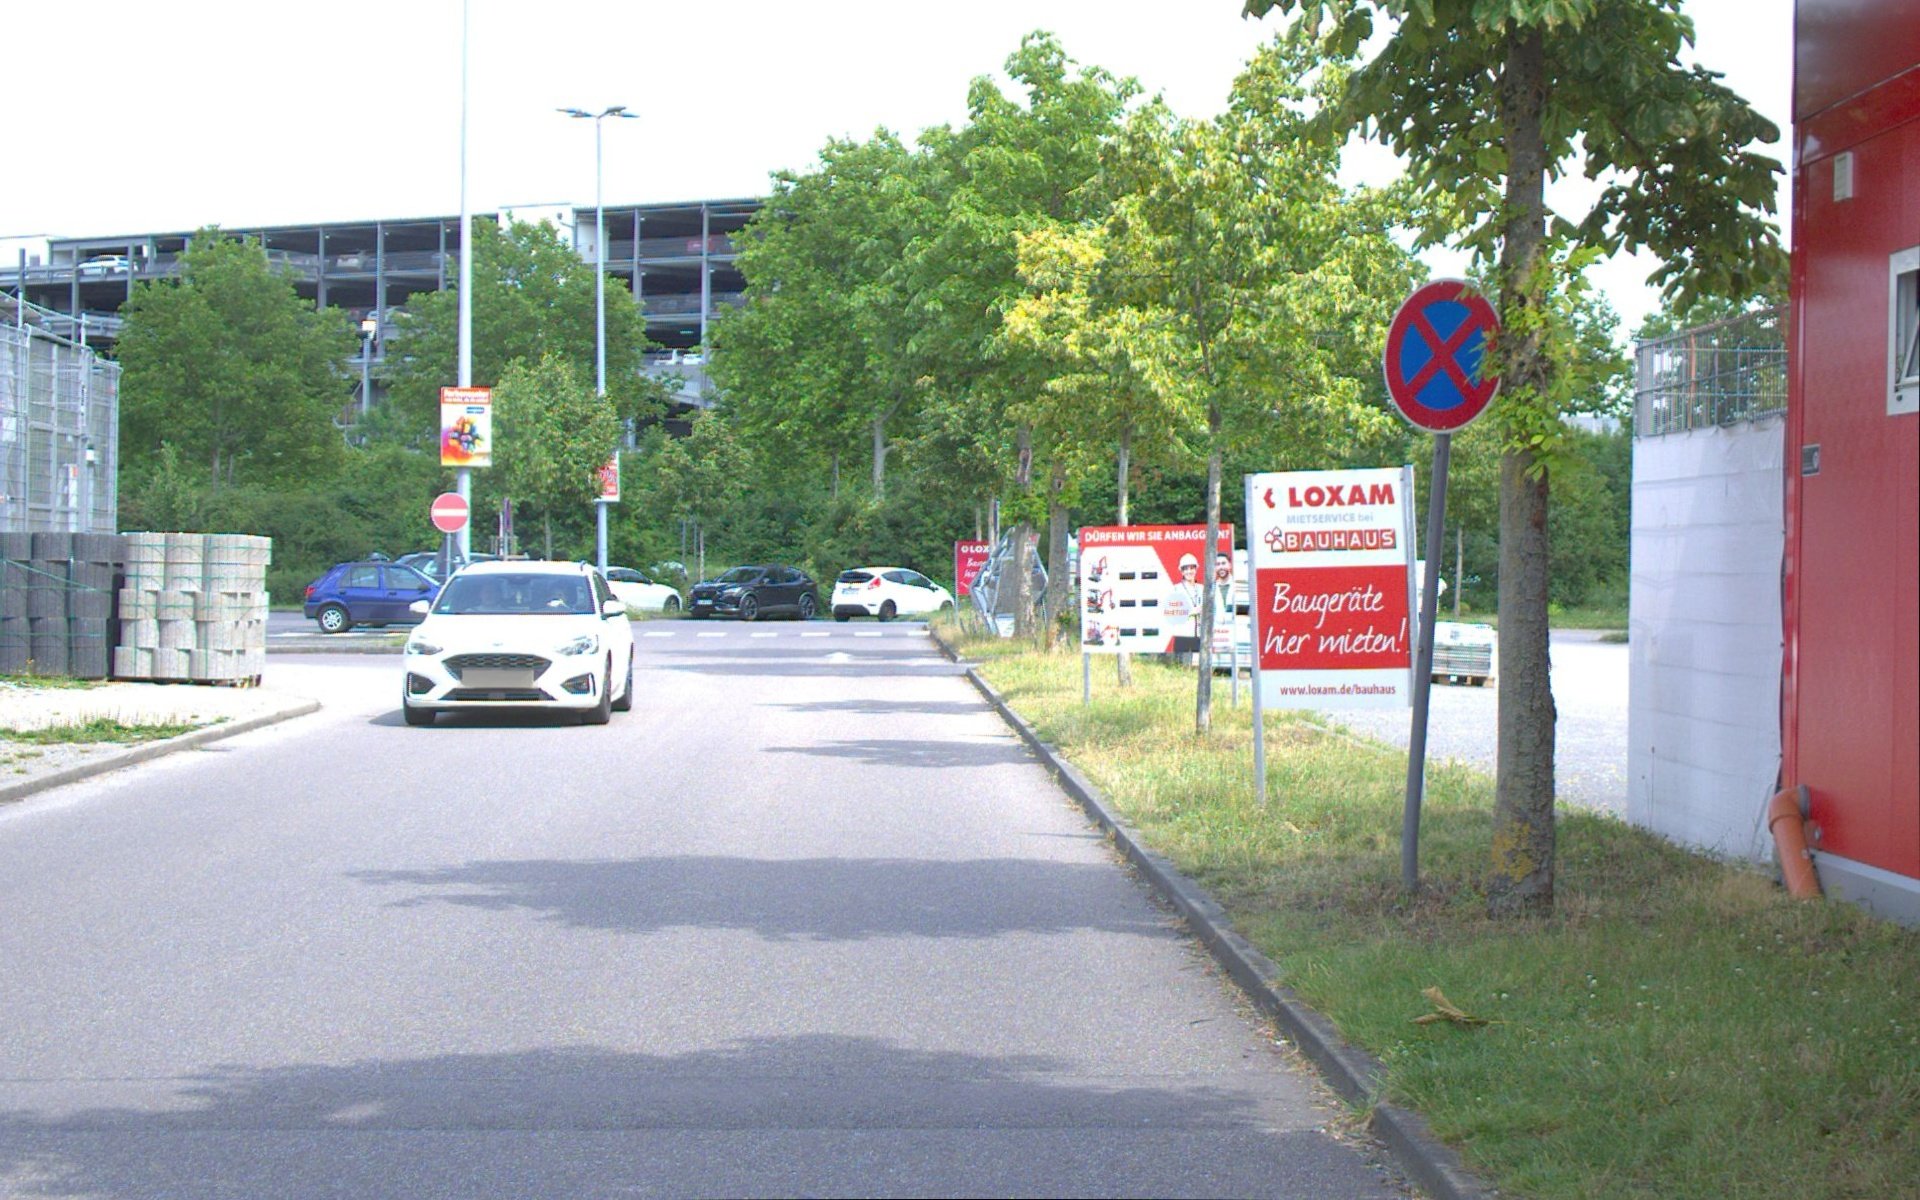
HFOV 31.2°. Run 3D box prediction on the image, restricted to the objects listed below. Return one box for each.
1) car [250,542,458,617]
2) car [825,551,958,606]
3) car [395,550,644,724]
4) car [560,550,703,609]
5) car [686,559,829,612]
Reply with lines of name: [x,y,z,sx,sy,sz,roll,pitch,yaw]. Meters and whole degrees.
car: [-11.675,-0.406,66.374,3.750,1.363,1.621,1,1,-1]
car: [-1.798,-0.568,91.129,1.668,1.407,3.550,1,1,38]
car: [-3.995,0.288,31.819,1.803,1.459,4.329,1,1,-1]
car: [-9.254,-0.570,97.069,1.688,1.505,4.073,-5,-3,36]
car: [-5.513,-0.413,93.932,1.731,1.405,4.235,1,1,33]
